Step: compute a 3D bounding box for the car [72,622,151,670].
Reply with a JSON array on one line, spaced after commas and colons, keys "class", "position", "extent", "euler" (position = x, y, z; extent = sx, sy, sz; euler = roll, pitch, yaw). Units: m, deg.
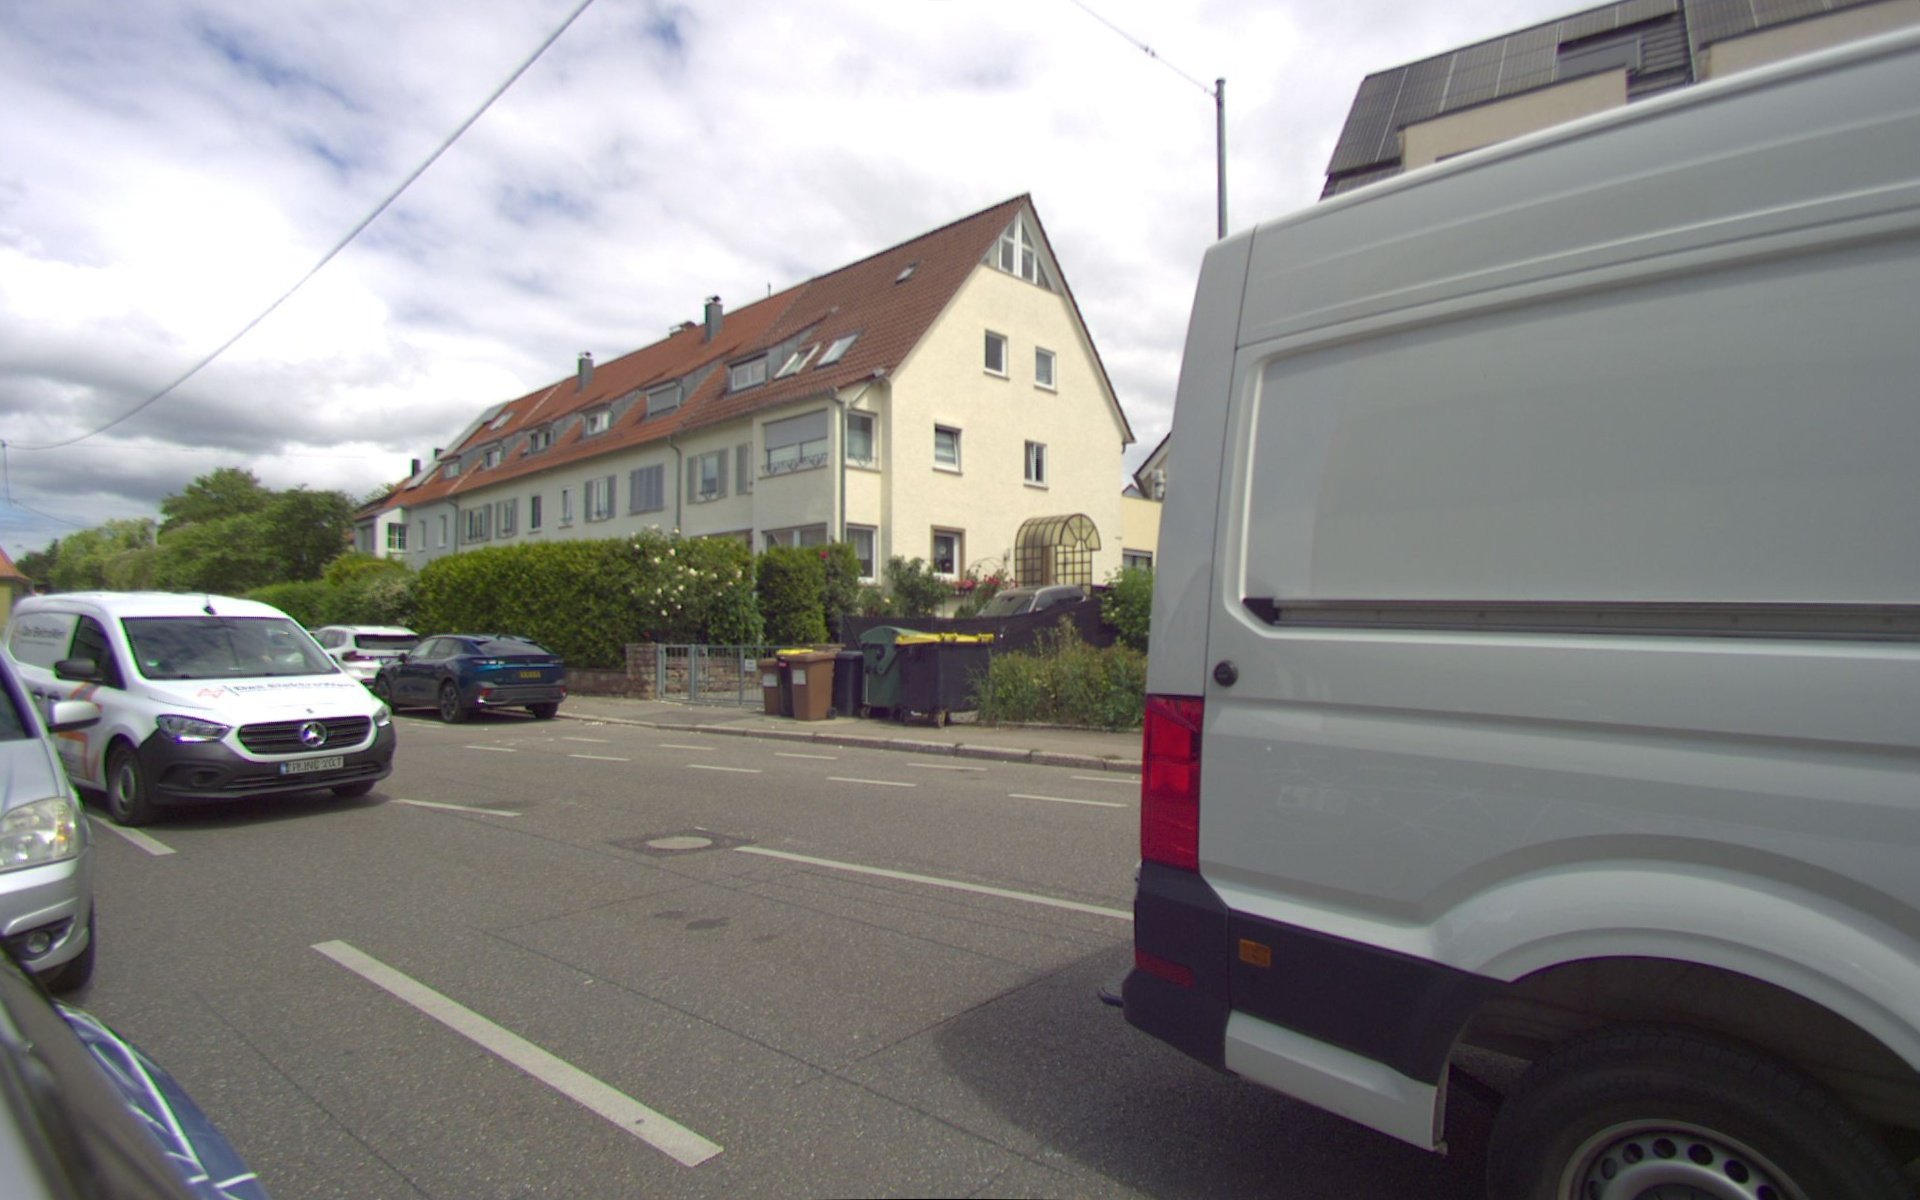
[{"class": "car", "position": [-36.345, 1.944, 43.295], "extent": [5.405, 1.909, 1.971], "euler": [-2, -5, 44]}]

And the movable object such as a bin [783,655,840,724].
[{"class": "movable object such as a bin", "position": [-2.306, 1.375, 15.725], "extent": [0.658, 1.015, 0.589], "euler": [-2, -3, 41]}]

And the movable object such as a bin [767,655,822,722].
[{"class": "movable object such as a bin", "position": [-2.670, 1.419, 16.325], "extent": [0.658, 1.032, 0.589], "euler": [-2, -3, 41]}]

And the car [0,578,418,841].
[{"class": "car", "position": [-6.707, 0.795, 8.765], "extent": [4.177, 1.784, 1.762], "euler": [-1, -2, 33]}]

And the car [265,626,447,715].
[{"class": "car", "position": [-12.724, 1.398, 21.212], "extent": [4.515, 1.663, 1.972], "euler": [-1, -3, 41]}]

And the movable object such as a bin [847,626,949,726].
[{"class": "movable object such as a bin", "position": [-0.973, 1.165, 15.958], "extent": [1.213, 1.493, 1.054], "euler": [-2, -3, 39]}]

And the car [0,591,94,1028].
[{"class": "car", "position": [-5.365, 0.794, 4.717], "extent": [4.332, 1.552, 1.684], "euler": [-2, -1, 45]}]

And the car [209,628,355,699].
[{"class": "car", "position": [-16.727, 1.492, 24.877], "extent": [4.690, 1.576, 1.971], "euler": [-2, -3, 43]}]

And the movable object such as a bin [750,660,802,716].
[{"class": "movable object such as a bin", "position": [-3.065, 1.461, 16.870], "extent": [0.614, 0.886, 0.589], "euler": [-2, -3, 41]}]

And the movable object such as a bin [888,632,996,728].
[{"class": "movable object such as a bin", "position": [-0.266, 1.135, 14.870], "extent": [1.214, 1.323, 1.053], "euler": [-2, -3, 43]}]

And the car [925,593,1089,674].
[{"class": "car", "position": [1.168, 0.738, 23.654], "extent": [1.802, 1.719, 3.946], "euler": [-2, -1, 40]}]

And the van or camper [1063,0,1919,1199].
[{"class": "van or camper", "position": [3.164, 0.148, 1.413], "extent": [5.916, 2.600, 2.004], "euler": [-2, -3, 40]}]

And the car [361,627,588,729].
[{"class": "car", "position": [-8.771, 1.297, 18.137], "extent": [4.485, 1.599, 1.973], "euler": [-1, -3, 40]}]
